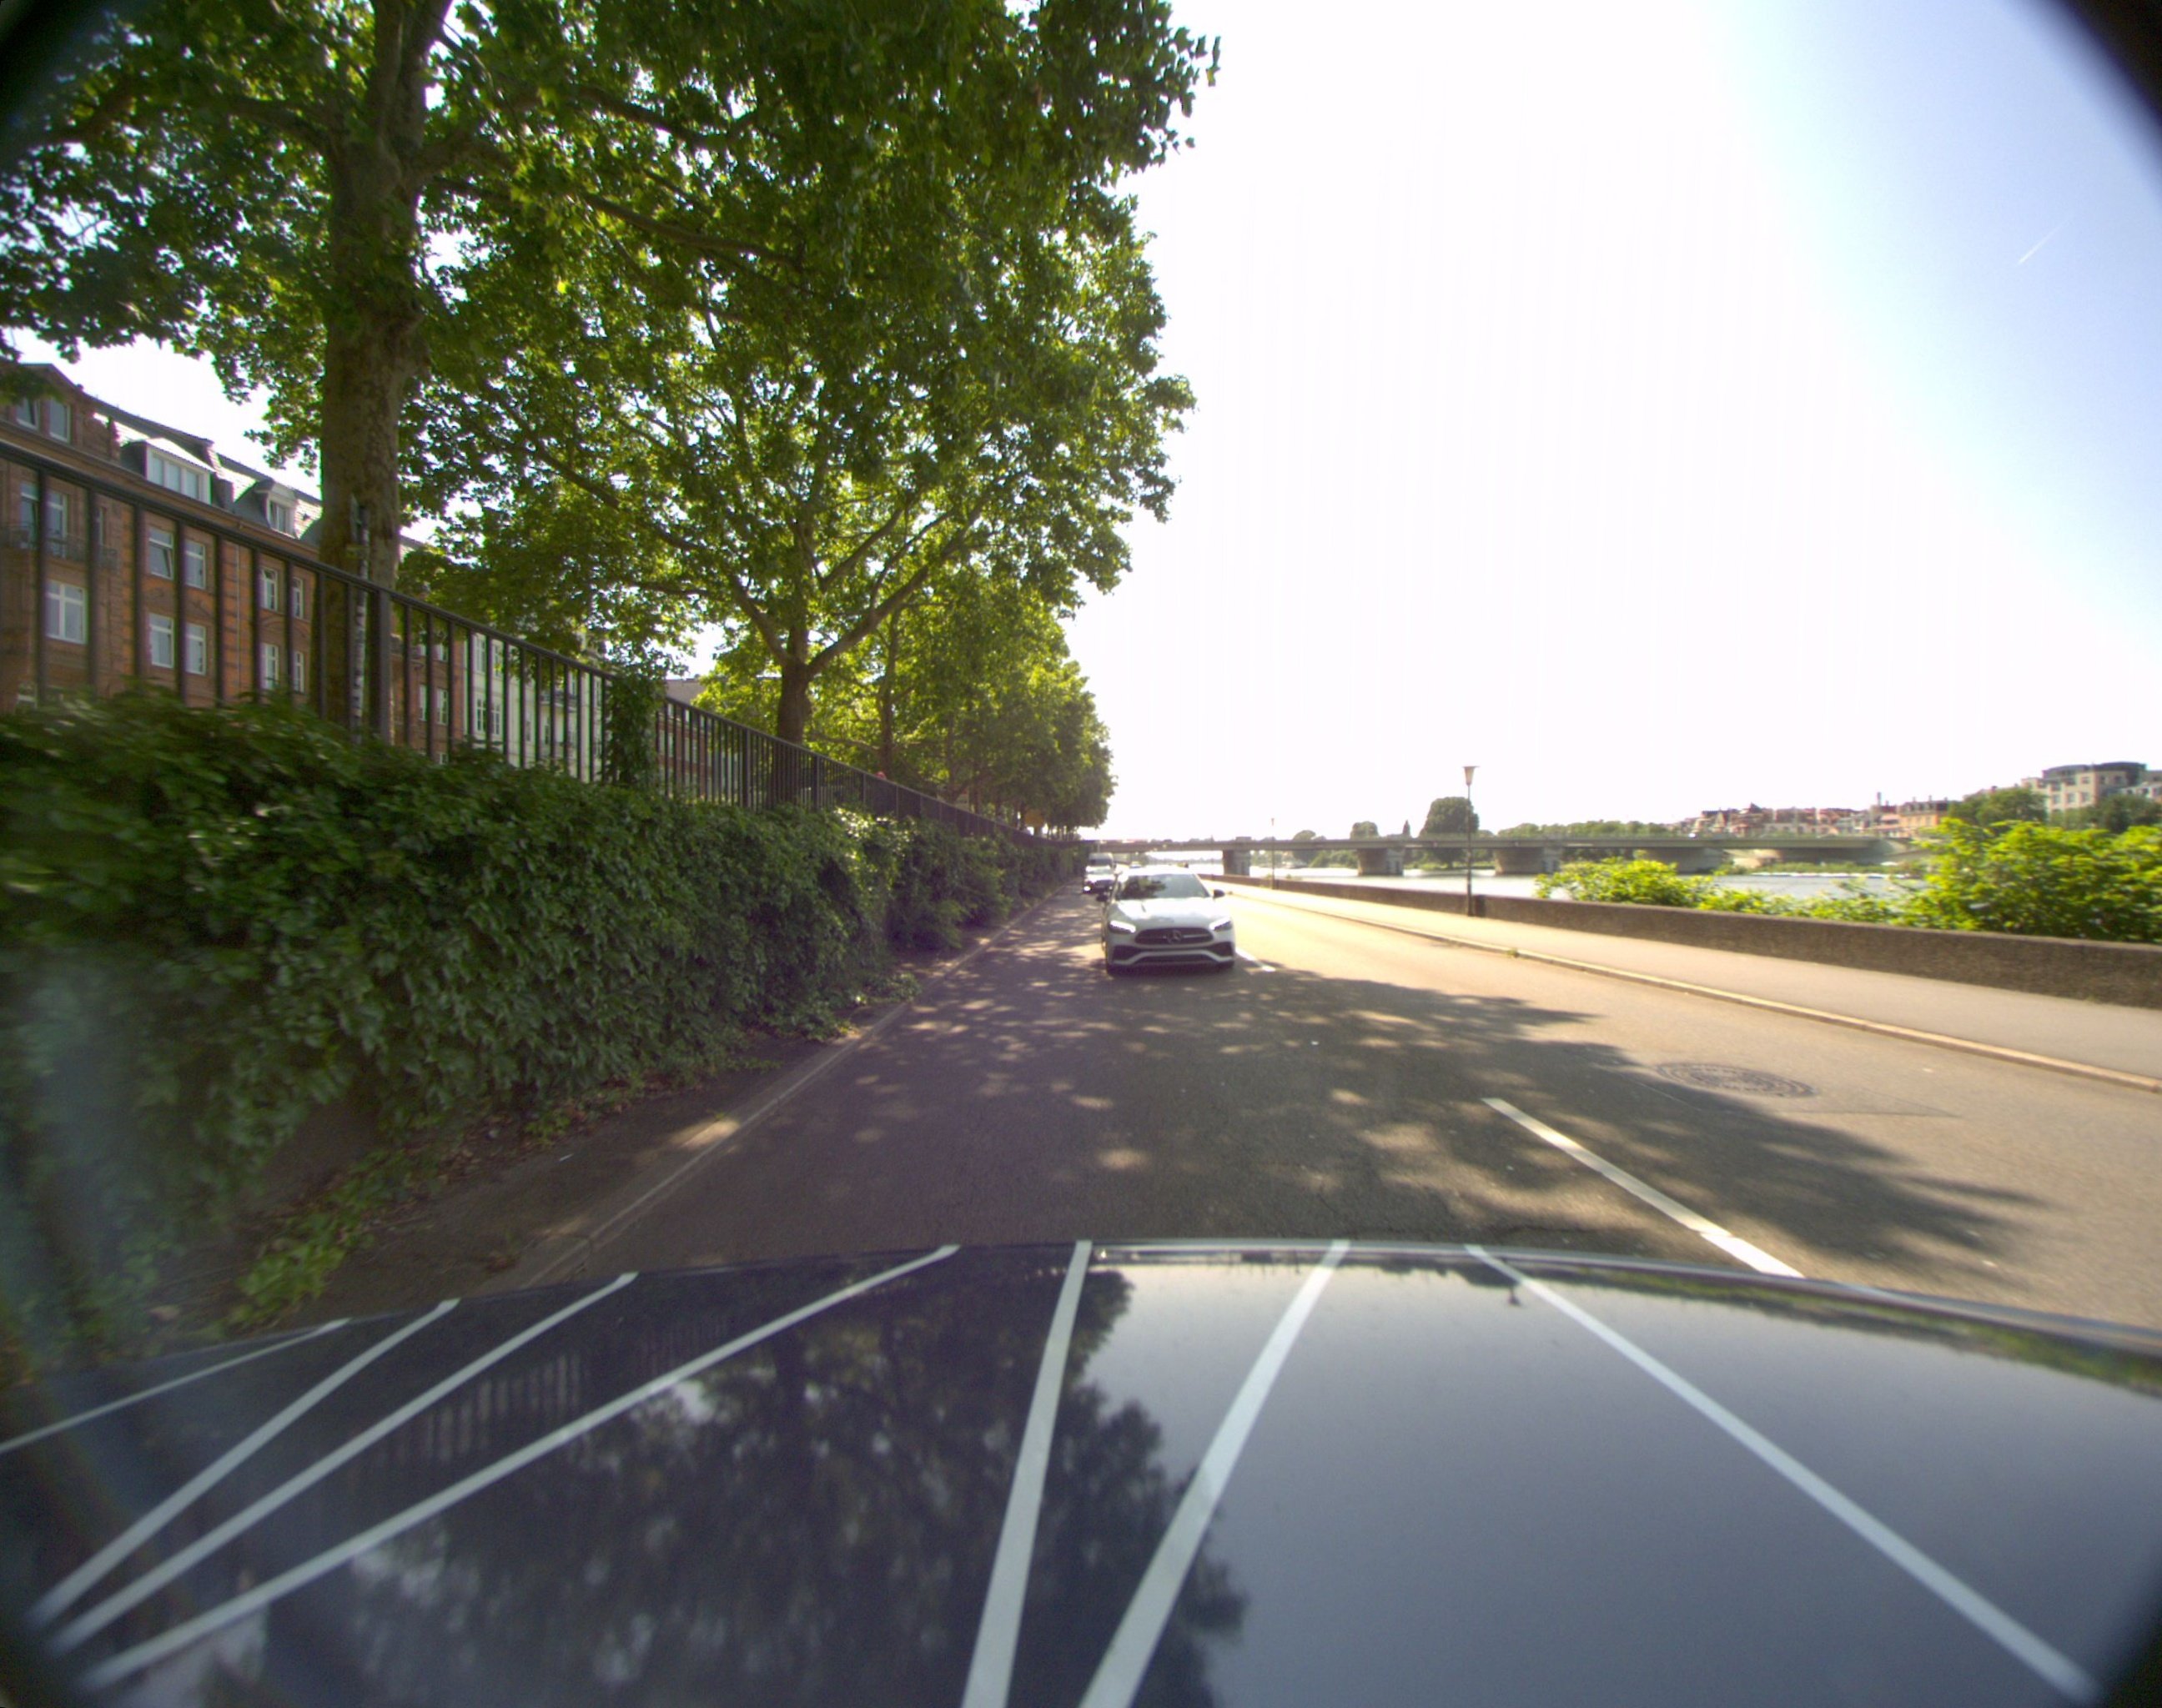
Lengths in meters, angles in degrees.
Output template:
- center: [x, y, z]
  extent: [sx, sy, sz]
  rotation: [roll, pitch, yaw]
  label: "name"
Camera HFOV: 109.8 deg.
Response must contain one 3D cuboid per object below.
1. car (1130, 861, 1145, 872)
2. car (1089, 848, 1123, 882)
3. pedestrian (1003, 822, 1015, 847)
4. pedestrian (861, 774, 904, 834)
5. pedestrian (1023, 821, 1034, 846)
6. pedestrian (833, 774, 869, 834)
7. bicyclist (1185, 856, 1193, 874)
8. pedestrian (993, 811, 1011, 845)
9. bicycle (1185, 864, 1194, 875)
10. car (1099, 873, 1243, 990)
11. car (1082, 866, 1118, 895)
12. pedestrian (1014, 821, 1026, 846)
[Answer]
- center: [7.330, 1.580, 99.125]
  extent: [1.676, 1.433, 3.902]
  rotation: [0, 0, 0]
  label: "car"
- center: [1.842, 0.832, 57.434]
  extent: [2.351, 2.428, 6.209]
  rotation: [0, 0, 0]
  label: "car"
- center: [-4.622, -1.267, 48.723]
  extent: [0.666, 1.582, 0.651]
  rotation: [0, 0, 0]
  label: "pedestrian"
- center: [-4.263, -1.065, 16.332]
  extent: [0.713, 1.236, 0.742]
  rotation: [0, 0, 0]
  label: "pedestrian"
- center: [-3.370, -1.308, 49.007]
  extent: [0.666, 1.582, 0.765]
  rotation: [0, 0, 0]
  label: "pedestrian"
- center: [-4.984, -1.069, 16.492]
  extent: [0.577, 1.236, 0.691]
  rotation: [0, 0, 0]
  label: "pedestrian"
- center: [10.496, 1.098, 73.707]
  extent: [0.663, 1.692, 0.975]
  rotation: [-1, 0, 1]
  label: "bicyclist"
- center: [-3.684, -1.213, 35.548]
  extent: [0.738, 1.582, 0.811]
  rotation: [0, 0, 0]
  label: "pedestrian"
- center: [10.499, 1.502, 73.743]
  extent: [0.654, 0.977, 1.944]
  rotation: [-1, 0, 1]
  label: "bicycle"
- center: [1.230, 1.077, 12.217]
  extent: [1.830, 1.411, 4.553]
  rotation: [-2, -1, 1]
  label: "car"
- center: [0.984, 1.369, 40.678]
  extent: [1.756, 1.384, 4.619]
  rotation: [-3, 0, 0]
  label: "car"
- center: [-3.864, -1.299, 48.103]
  extent: [0.738, 1.582, 0.811]
  rotation: [0, 0, 0]
  label: "pedestrian"
